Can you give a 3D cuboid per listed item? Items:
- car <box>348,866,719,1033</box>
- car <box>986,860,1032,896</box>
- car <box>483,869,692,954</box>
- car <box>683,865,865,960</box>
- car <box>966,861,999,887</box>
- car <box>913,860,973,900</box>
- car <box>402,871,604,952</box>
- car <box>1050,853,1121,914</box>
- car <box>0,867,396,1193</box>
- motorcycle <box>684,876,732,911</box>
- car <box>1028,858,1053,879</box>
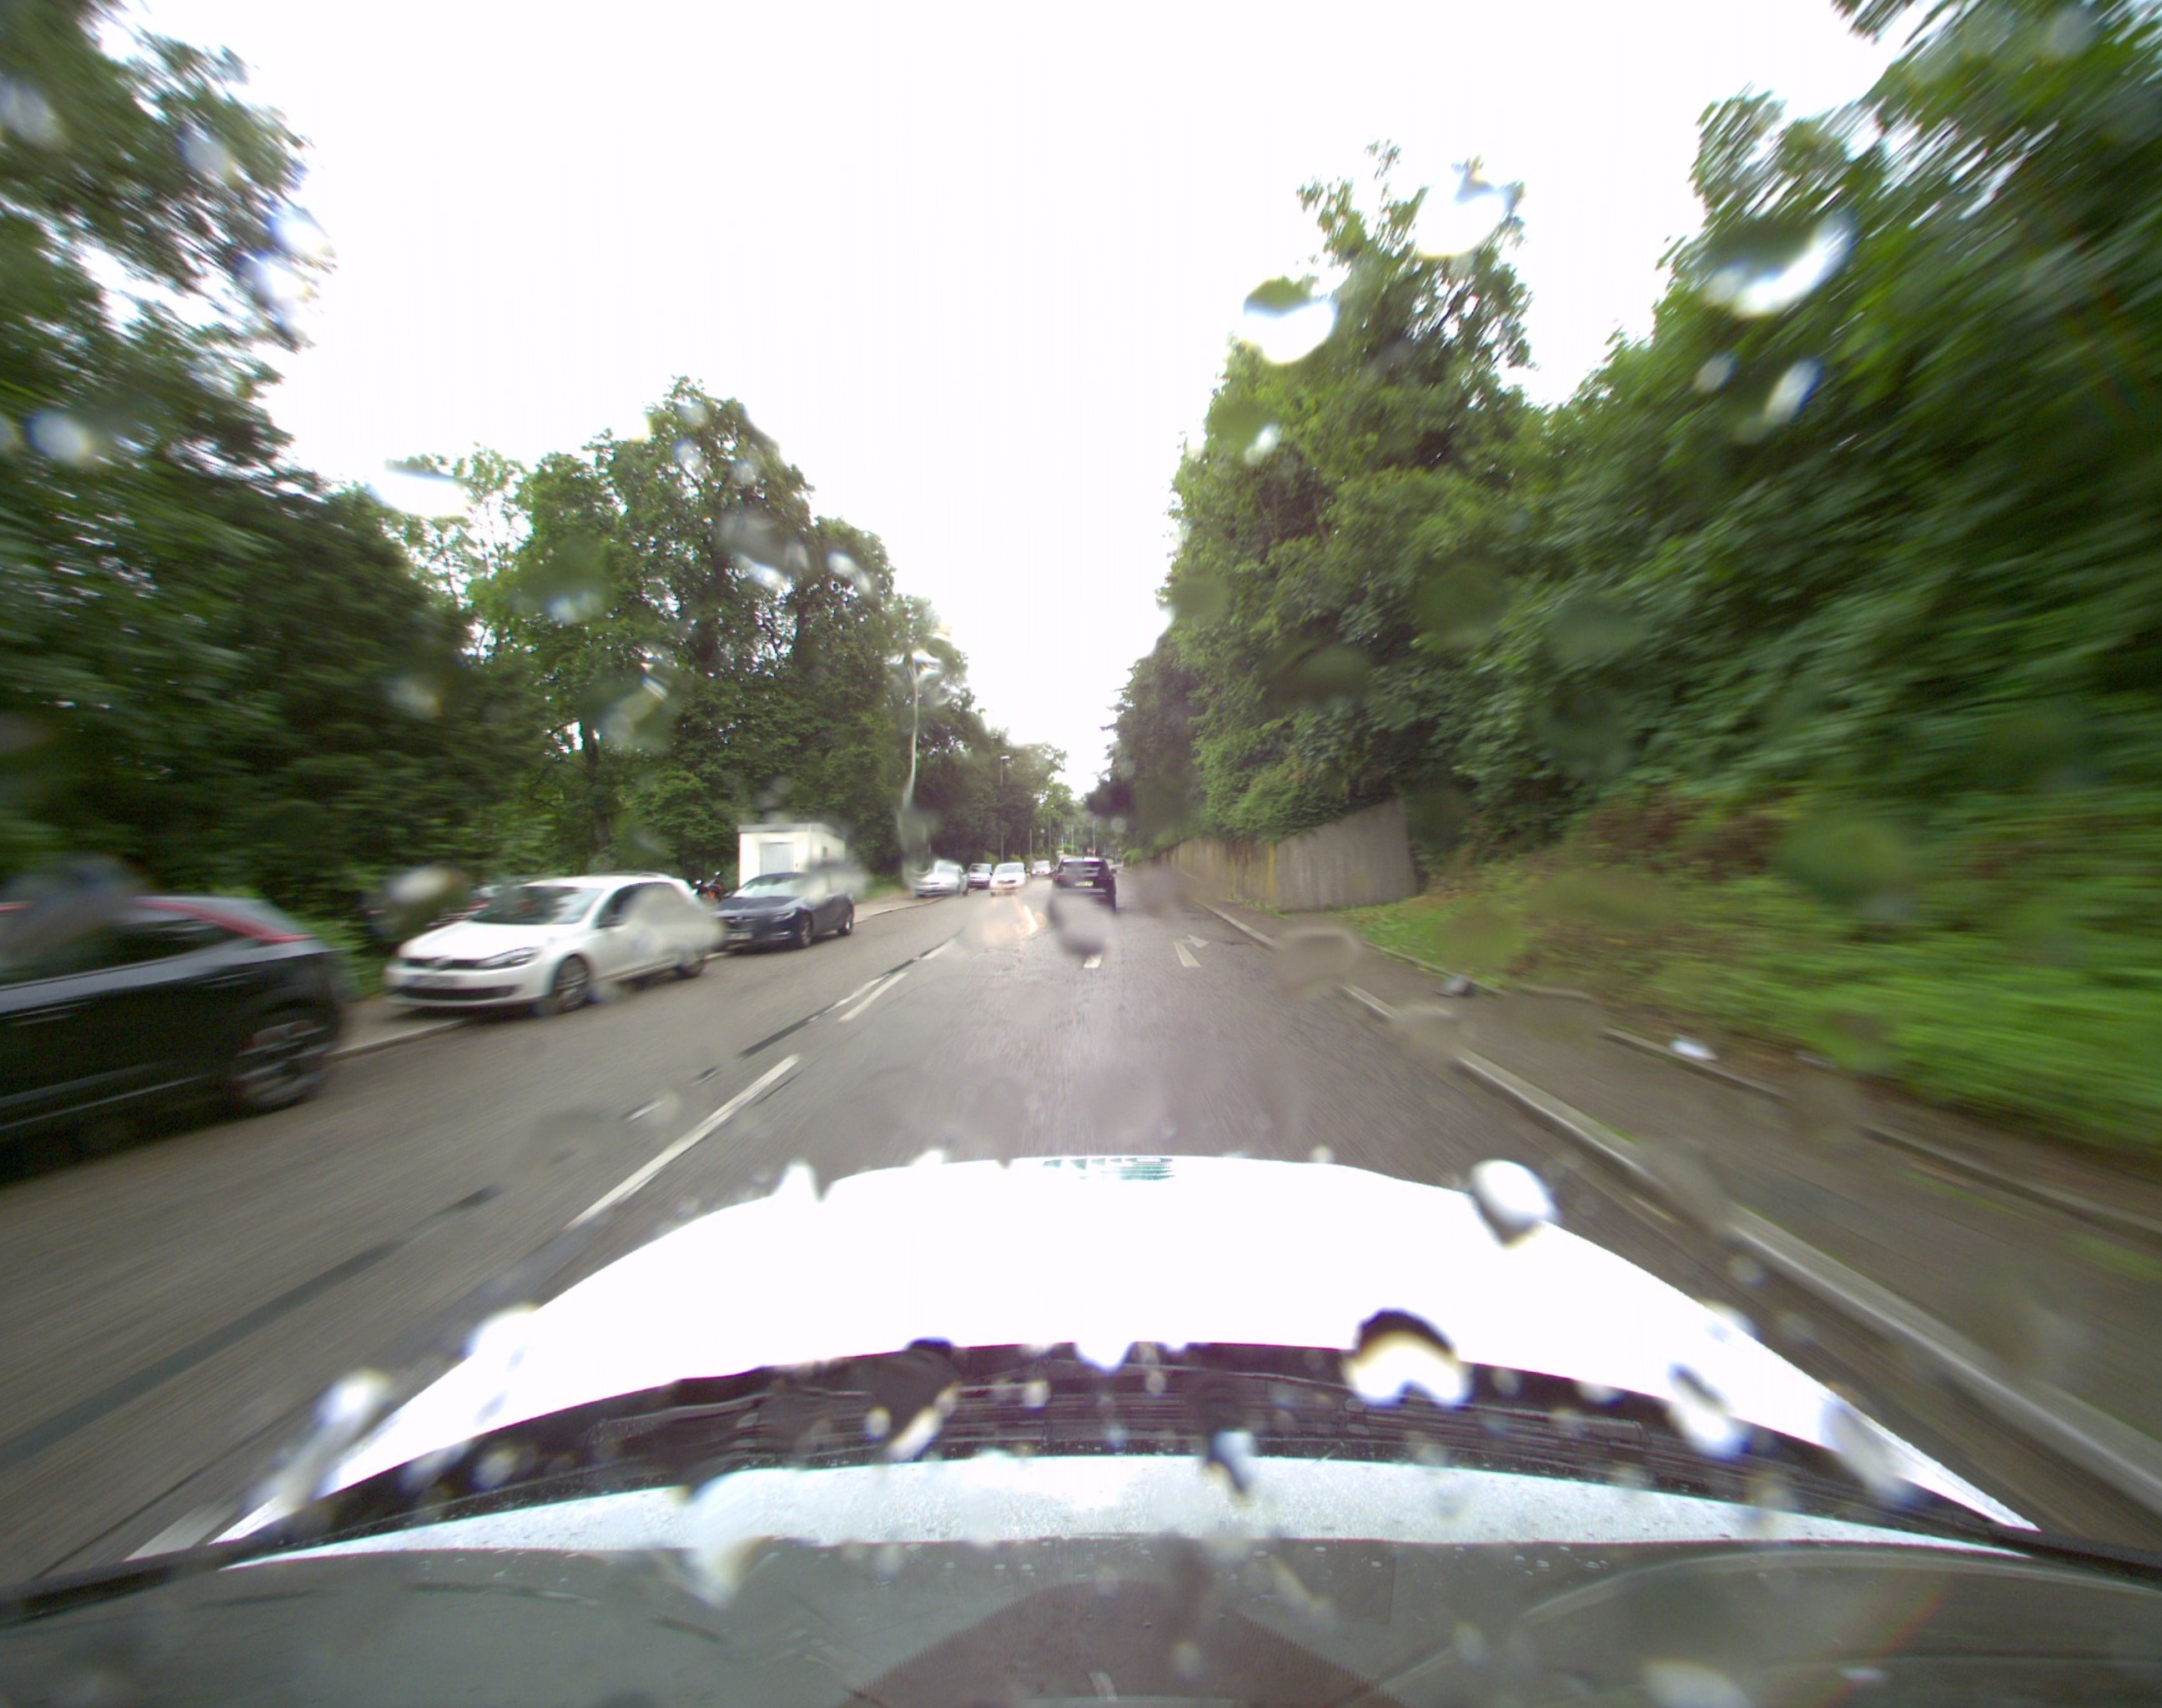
[{"bbox_3d":[-6.476,1.001,10.324,1.649,1.569,4.152,-3,0,4],"label":"car"},{"bbox_3d":[-3.294,1.065,37.987,1.719,1.435,3.911,-4,0,0],"label":"car"},{"bbox_3d":[-10.314,1.119,17.483,1.716,1.459,4.397,-2,0,1],"label":"car"},{"bbox_3d":[-6.131,1.069,16.947,1.854,1.493,4.755,-5,0,0],"label":"car"},{"bbox_3d":[-5.944,1.179,49.308,1.622,1.499,3.925,0,0,-2],"label":"car"},{"bbox_3d":[-6.299,1.141,37.590,1.880,1.611,4.239,-4,0,1],"label":"car"},{"bbox_3d":[-12.373,1.159,17.757,1.615,1.459,3.775,-2,0,1],"label":"car"},{"bbox_3d":[0.136,0.803,24.117,1.922,1.613,4.000,-1,0,0],"label":"car"},{"bbox_3d":[-6.280,0.957,4.227,1.637,1.604,4.189,-4,0,3],"label":"car"},{"bbox_3d":[-13.953,1.470,30.531,0.597,1.188,2.280,-2,0,4],"label":"motorcycle"},{"bbox_3d":[-3.159,1.103,63.907,1.755,1.491,3.999,-3,0,-1],"label":"car"}]
